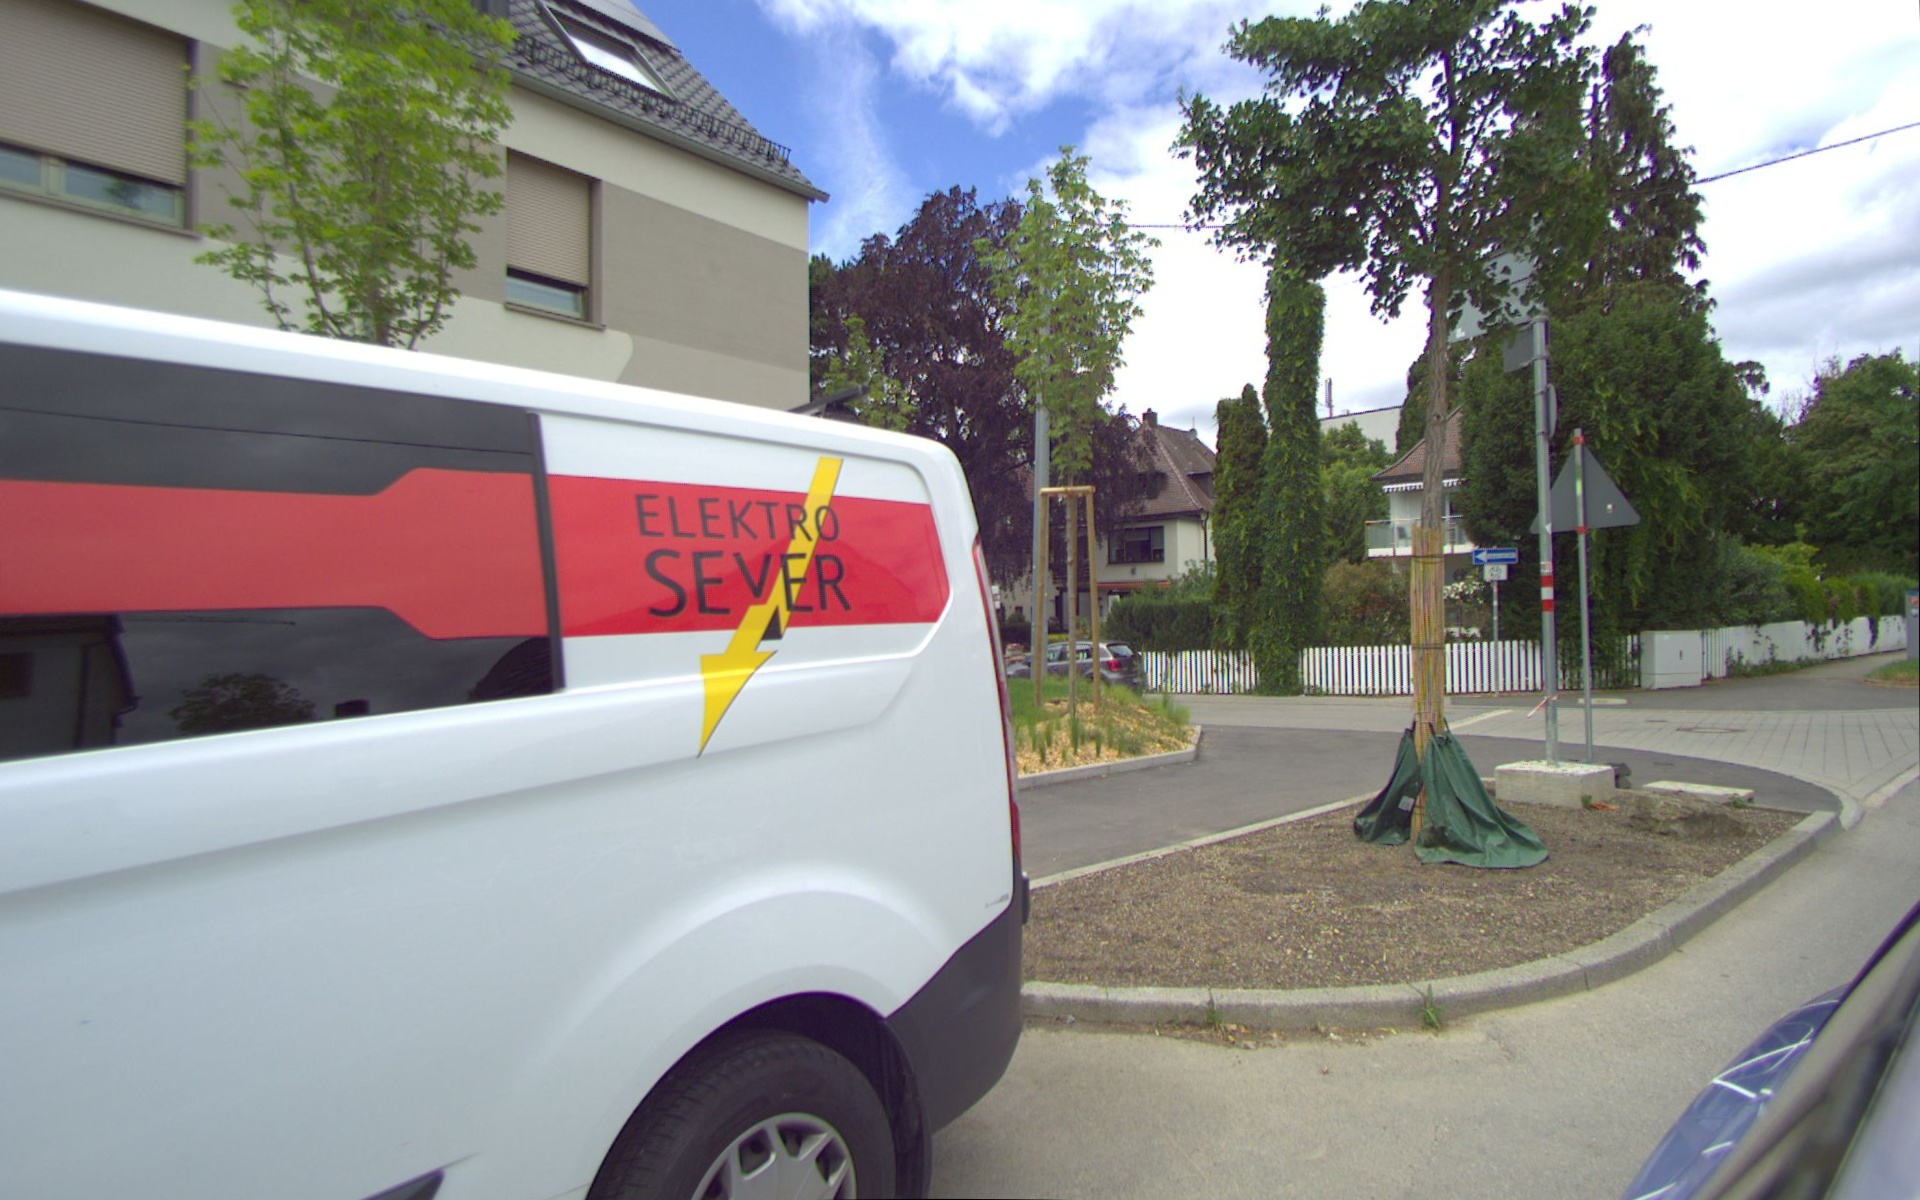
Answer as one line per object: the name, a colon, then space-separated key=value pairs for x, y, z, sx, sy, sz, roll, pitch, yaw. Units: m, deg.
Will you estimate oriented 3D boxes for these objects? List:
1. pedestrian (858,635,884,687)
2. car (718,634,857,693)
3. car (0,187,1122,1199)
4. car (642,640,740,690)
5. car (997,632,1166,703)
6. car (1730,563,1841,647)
pedestrian: x=-2.745 y=1.888 z=31.252 sx=0.566 sy=1.568 sz=0.544 roll=0 pitch=-3 yaw=-38
car: x=-5.373 y=1.954 z=31.238 sx=4.323 sy=1.628 sz=1.861 roll=-3 pitch=-2 yaw=40
car: x=-2.038 y=0.526 z=1.612 sx=4.819 sy=1.940 sz=1.959 roll=-1 pitch=-2 yaw=-43
car: x=-9.250 y=2.222 z=34.735 sx=3.329 sy=1.564 sz=1.638 roll=-3 pitch=-2 yaw=40
car: x=2.779 y=1.541 z=23.527 sx=3.516 sy=1.477 sz=1.690 roll=-3 pitch=-2 yaw=40
car: x=29.227 y=0.194 z=35.776 sx=2.497 sy=2.716 sz=5.103 roll=-4 pitch=-2 yaw=44
